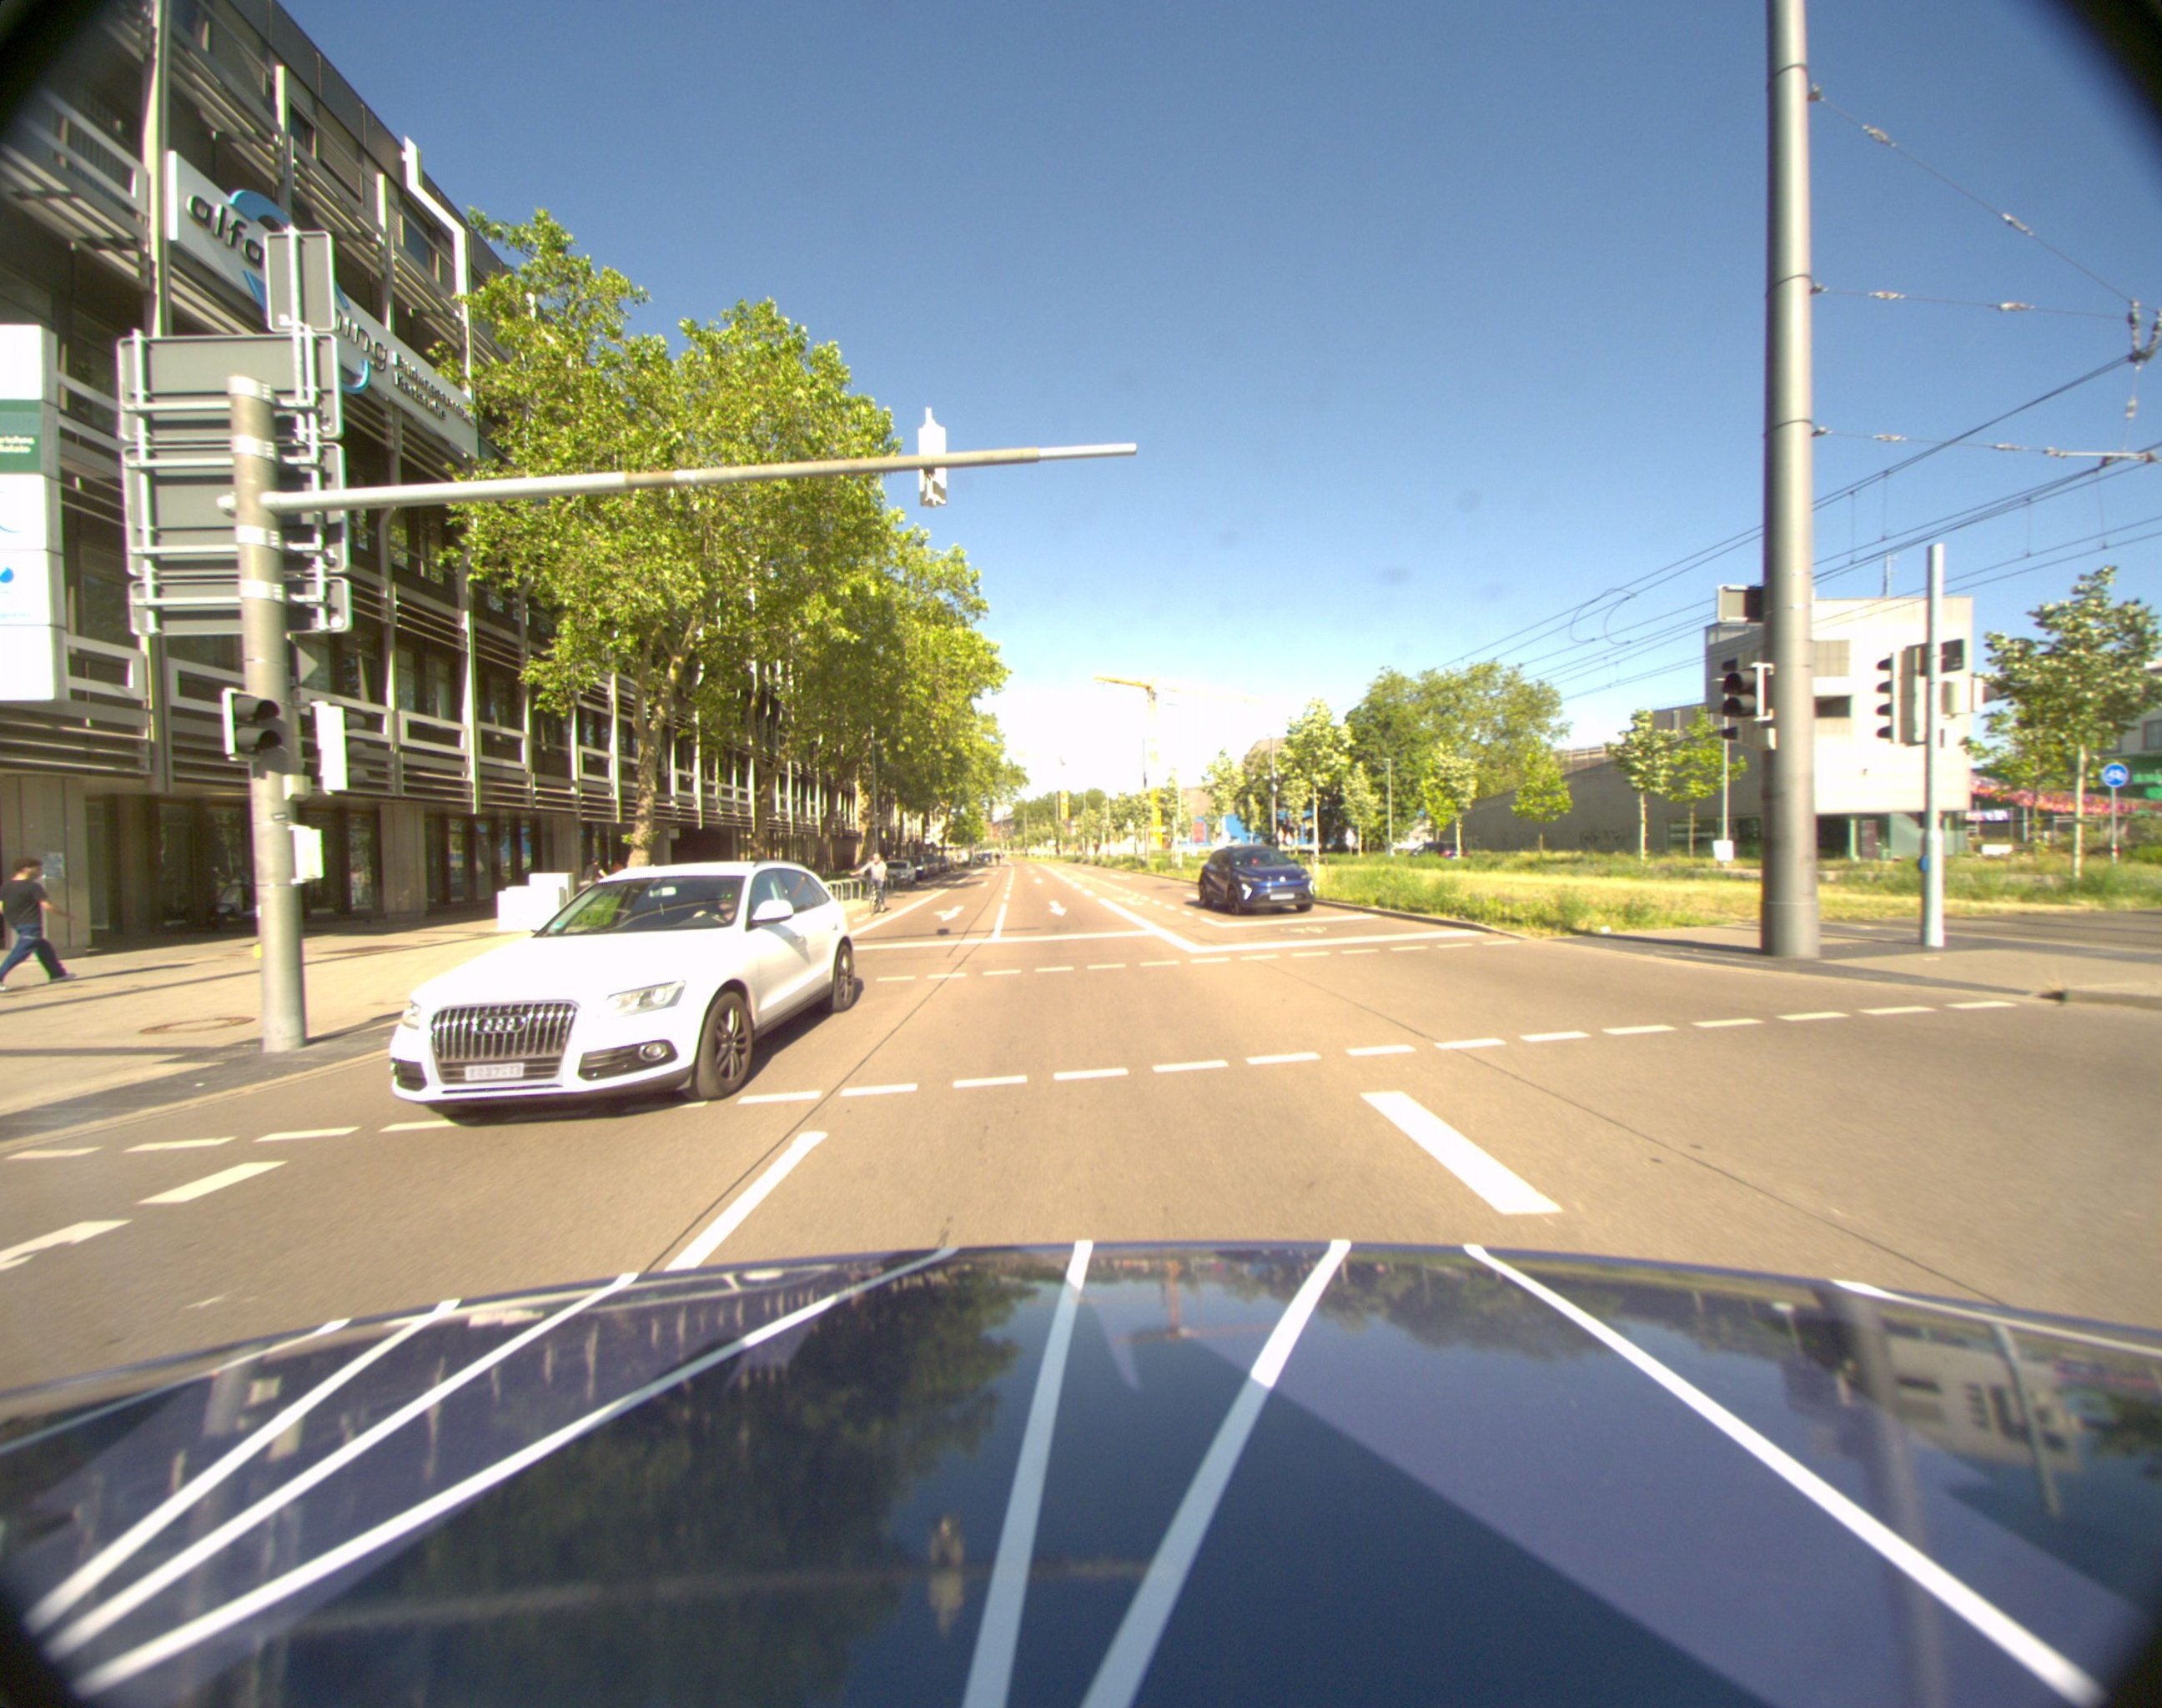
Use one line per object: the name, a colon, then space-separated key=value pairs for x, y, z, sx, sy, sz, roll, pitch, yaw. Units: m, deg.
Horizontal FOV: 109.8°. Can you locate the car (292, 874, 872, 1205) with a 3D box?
car: x=-3.300 y=1.064 z=6.314 sx=1.824 sy=1.604 sz=4.412 roll=-2 pitch=0 yaw=0

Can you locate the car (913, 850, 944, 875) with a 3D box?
car: x=-11.537 y=0.613 z=57.723 sx=1.753 sy=1.811 sz=4.335 roll=0 pitch=0 yaw=-5

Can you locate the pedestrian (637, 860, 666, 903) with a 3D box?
pedestrian: x=-16.050 y=1.025 z=28.418 sx=0.668 sy=1.591 sz=0.727 roll=1 pitch=1 yaw=-4

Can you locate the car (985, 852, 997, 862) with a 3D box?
car: x=-15.678 y=0.556 z=132.040 sx=2.000 sy=1.598 sz=3.894 roll=-2 pitch=0 yaw=-6

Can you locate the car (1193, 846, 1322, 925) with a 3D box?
car: x=4.070 y=0.656 z=18.227 sx=1.775 sy=1.579 sz=4.086 roll=-3 pitch=1 yaw=-5

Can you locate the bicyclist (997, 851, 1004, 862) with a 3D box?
bicyclist: x=-10.268 y=0.376 z=97.481 sx=0.830 sy=1.380 sz=0.903 roll=-2 pitch=1 yaw=-4

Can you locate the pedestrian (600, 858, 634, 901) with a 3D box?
pedestrian: x=-17.559 y=0.960 z=28.769 sx=0.668 sy=1.591 sz=1.009 roll=1 pitch=1 yaw=-4

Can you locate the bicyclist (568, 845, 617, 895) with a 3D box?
bicyclist: x=-14.777 y=0.477 z=23.002 sx=0.883 sy=1.468 sz=0.883 roll=-1 pitch=1 yaw=-5

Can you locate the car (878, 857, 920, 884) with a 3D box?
car: x=-10.769 y=0.956 z=45.304 sx=1.753 sy=1.481 sz=4.557 roll=0 pitch=0 yaw=-5

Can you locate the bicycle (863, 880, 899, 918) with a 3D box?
bicycle: x=-6.037 y=1.329 z=22.990 sx=0.711 sy=0.987 sz=1.922 roll=-4 pitch=0 yaw=-6

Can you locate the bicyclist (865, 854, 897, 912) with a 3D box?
bicyclist: x=-6.082 y=0.863 z=23.100 sx=0.711 sy=1.678 sz=0.852 roll=-4 pitch=1 yaw=-6

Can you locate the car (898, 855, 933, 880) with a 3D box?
car: x=-11.284 y=0.879 z=51.963 sx=1.753 sy=1.624 sz=4.335 roll=0 pitch=0 yaw=-5

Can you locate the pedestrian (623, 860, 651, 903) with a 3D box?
pedestrian: x=-16.777 y=1.016 z=28.719 sx=0.668 sy=1.591 sz=0.727 roll=1 pitch=1 yaw=-4

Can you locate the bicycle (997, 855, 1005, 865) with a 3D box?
bicycle: x=-10.262 y=0.769 z=97.436 sx=0.845 sy=1.123 sz=2.552 roll=-2 pitch=0 yaw=-4

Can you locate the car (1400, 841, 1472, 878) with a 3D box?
car: x=19.510 y=0.283 z=41.947 sx=1.876 sy=1.944 sz=3.998 roll=-1 pitch=0 yaw=-5

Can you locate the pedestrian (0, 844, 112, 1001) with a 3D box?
pedestrian: x=-14.195 y=0.890 z=10.185 sx=0.950 sy=2.002 sz=1.078 roll=-2 pitch=1 yaw=-12

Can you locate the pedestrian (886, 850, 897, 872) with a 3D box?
pedestrian: x=-17.318 y=0.648 z=69.352 sx=0.741 sy=2.002 sz=0.626 roll=-2 pitch=1 yaw=-1

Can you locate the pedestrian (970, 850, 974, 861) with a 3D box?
pedestrian: x=-17.375 y=0.217 z=121.087 sx=0.591 sy=1.830 sz=0.569 roll=-2 pitch=1 yaw=-5

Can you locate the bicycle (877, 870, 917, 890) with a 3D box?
bicycle: x=-9.031 y=1.280 z=37.285 sx=1.849 sy=0.954 sz=0.711 roll=0 pitch=0 yaw=-9

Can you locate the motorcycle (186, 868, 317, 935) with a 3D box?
motorcycle: x=-19.554 y=1.081 z=18.000 sx=0.825 sy=1.433 sz=2.121 roll=-1 pitch=1 yaw=-4

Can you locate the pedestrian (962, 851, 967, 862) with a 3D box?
pedestrian: x=-19.389 y=0.355 z=126.522 sx=0.591 sy=1.830 sz=0.569 roll=-2 pitch=1 yaw=-5

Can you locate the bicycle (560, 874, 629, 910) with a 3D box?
bicycle: x=-14.756 y=1.141 z=23.139 sx=0.883 sy=0.979 sz=2.050 roll=-1 pitch=0 yaw=-5

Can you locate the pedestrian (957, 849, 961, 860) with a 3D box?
pedestrian: x=-19.670 y=0.055 z=122.814 sx=0.591 sy=1.830 sz=0.696 roll=-2 pitch=1 yaw=-5

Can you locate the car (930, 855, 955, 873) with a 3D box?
car: x=-12.552 y=0.856 z=69.084 sx=1.753 sy=1.545 sz=4.335 roll=0 pitch=0 yaw=-5
